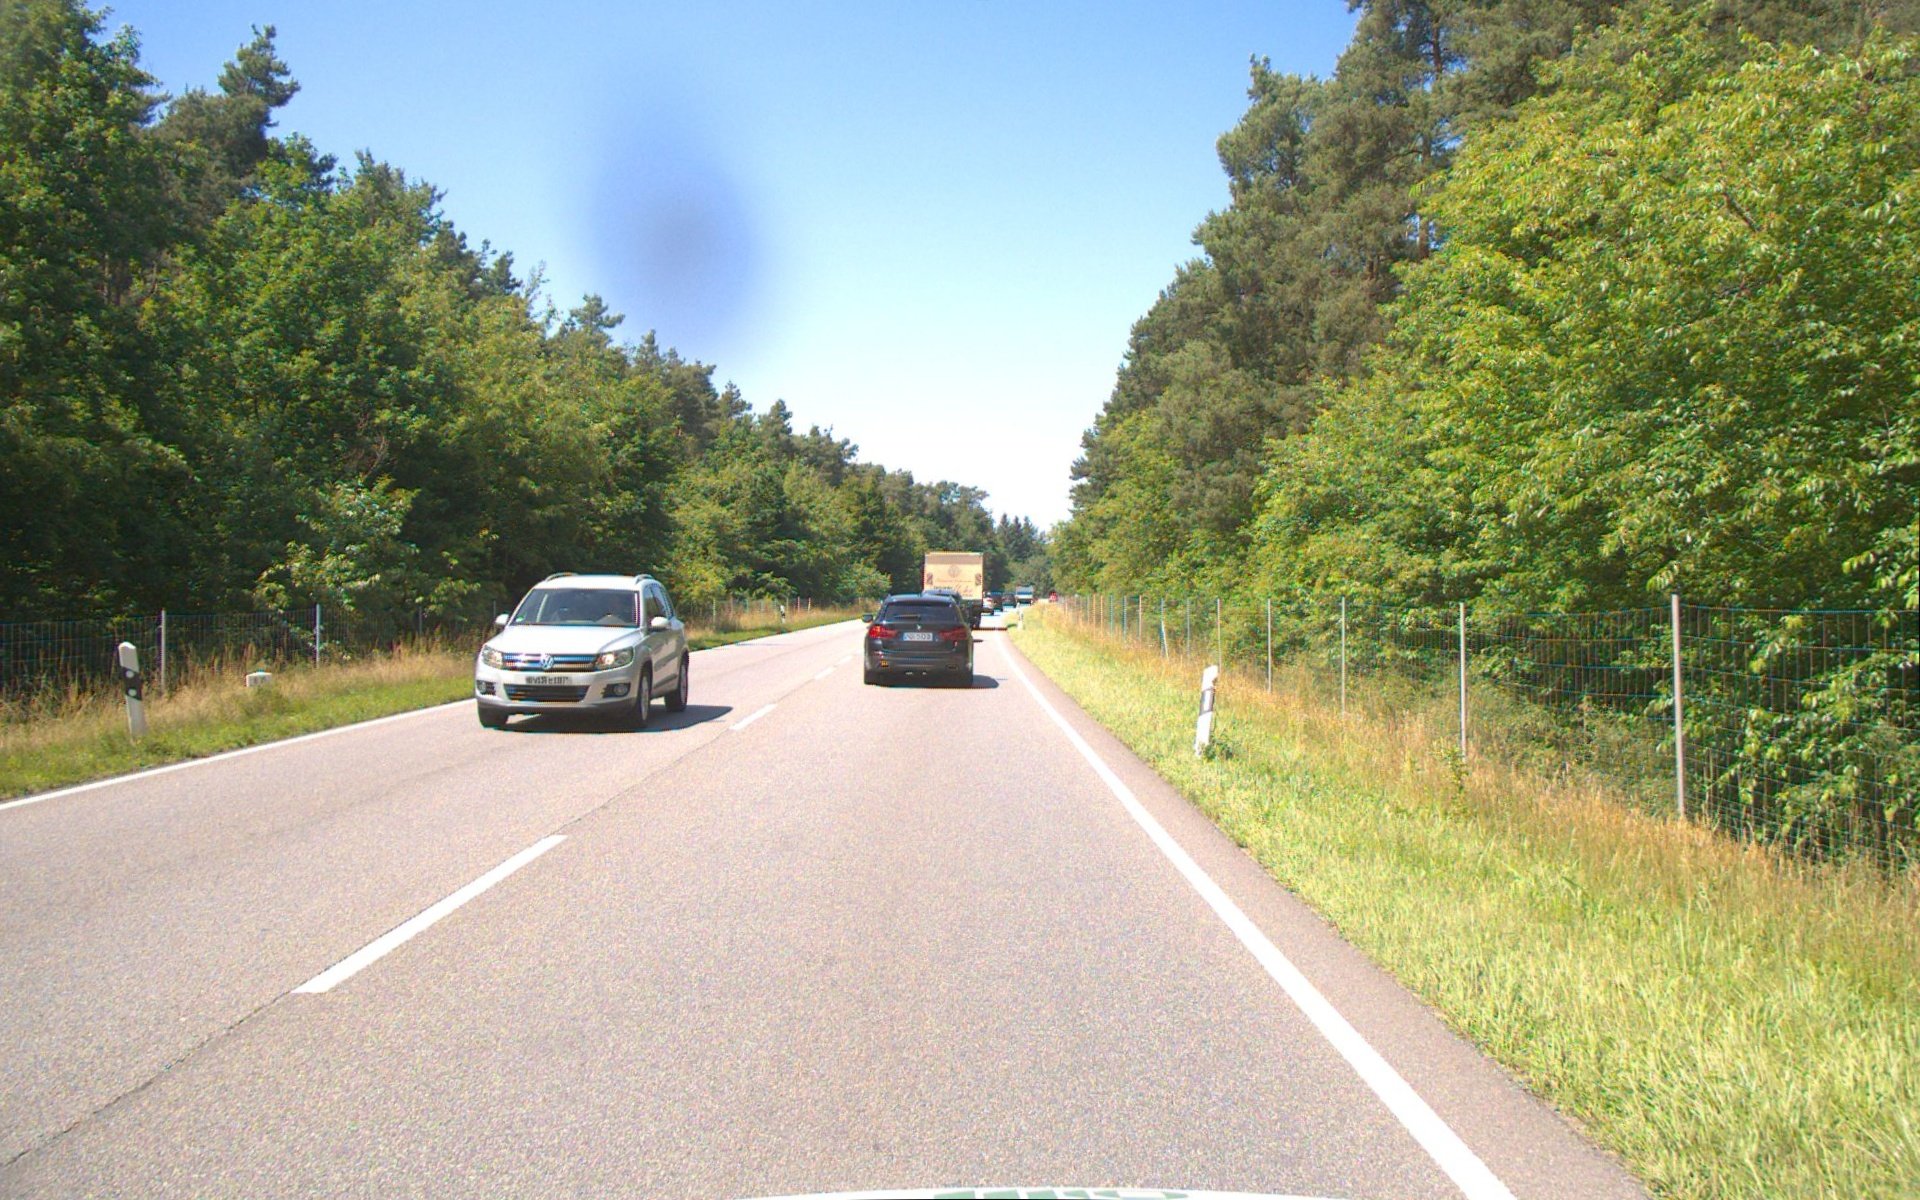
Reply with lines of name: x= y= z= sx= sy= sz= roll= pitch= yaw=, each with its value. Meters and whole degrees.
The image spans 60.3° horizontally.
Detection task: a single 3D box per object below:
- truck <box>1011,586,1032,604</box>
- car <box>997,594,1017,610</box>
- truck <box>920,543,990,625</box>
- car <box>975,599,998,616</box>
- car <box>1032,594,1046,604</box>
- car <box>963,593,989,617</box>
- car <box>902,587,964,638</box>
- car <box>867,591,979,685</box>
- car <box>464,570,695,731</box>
truck: x=7.650 y=-0.653 z=205.687 sx=2.510 sy=2.240 sz=4.976 roll=0 pitch=1 yaw=4
car: x=5.135 y=0.197 z=180.539 sx=1.952 sy=1.665 sz=4.002 roll=-1 pitch=0 yaw=3
truck: x=-0.285 y=-0.685 z=72.664 sx=2.905 sy=3.447 sz=6.436 roll=0 pitch=0 yaw=-1
car: x=2.299 y=0.624 z=143.956 sx=1.953 sy=1.445 sz=4.000 roll=-1 pitch=0 yaw=0
car: x=11.266 y=-0.129 z=235.588 sx=1.756 sy=1.378 sz=3.932 roll=0 pitch=0 yaw=7
car: x=1.146 y=0.359 z=118.067 sx=1.825 sy=1.633 sz=4.000 roll=0 pitch=0 yaw=0
car: x=-0.834 y=0.378 z=53.853 sx=1.907 sy=1.568 sz=4.000 roll=-1 pitch=0 yaw=0
car: x=-0.646 y=0.598 z=28.372 sx=1.784 sy=1.496 sz=3.999 roll=0 pitch=0 yaw=-2
car: x=-4.261 y=0.496 z=19.147 sx=1.825 sy=1.657 sz=4.091 roll=0 pitch=1 yaw=-2
